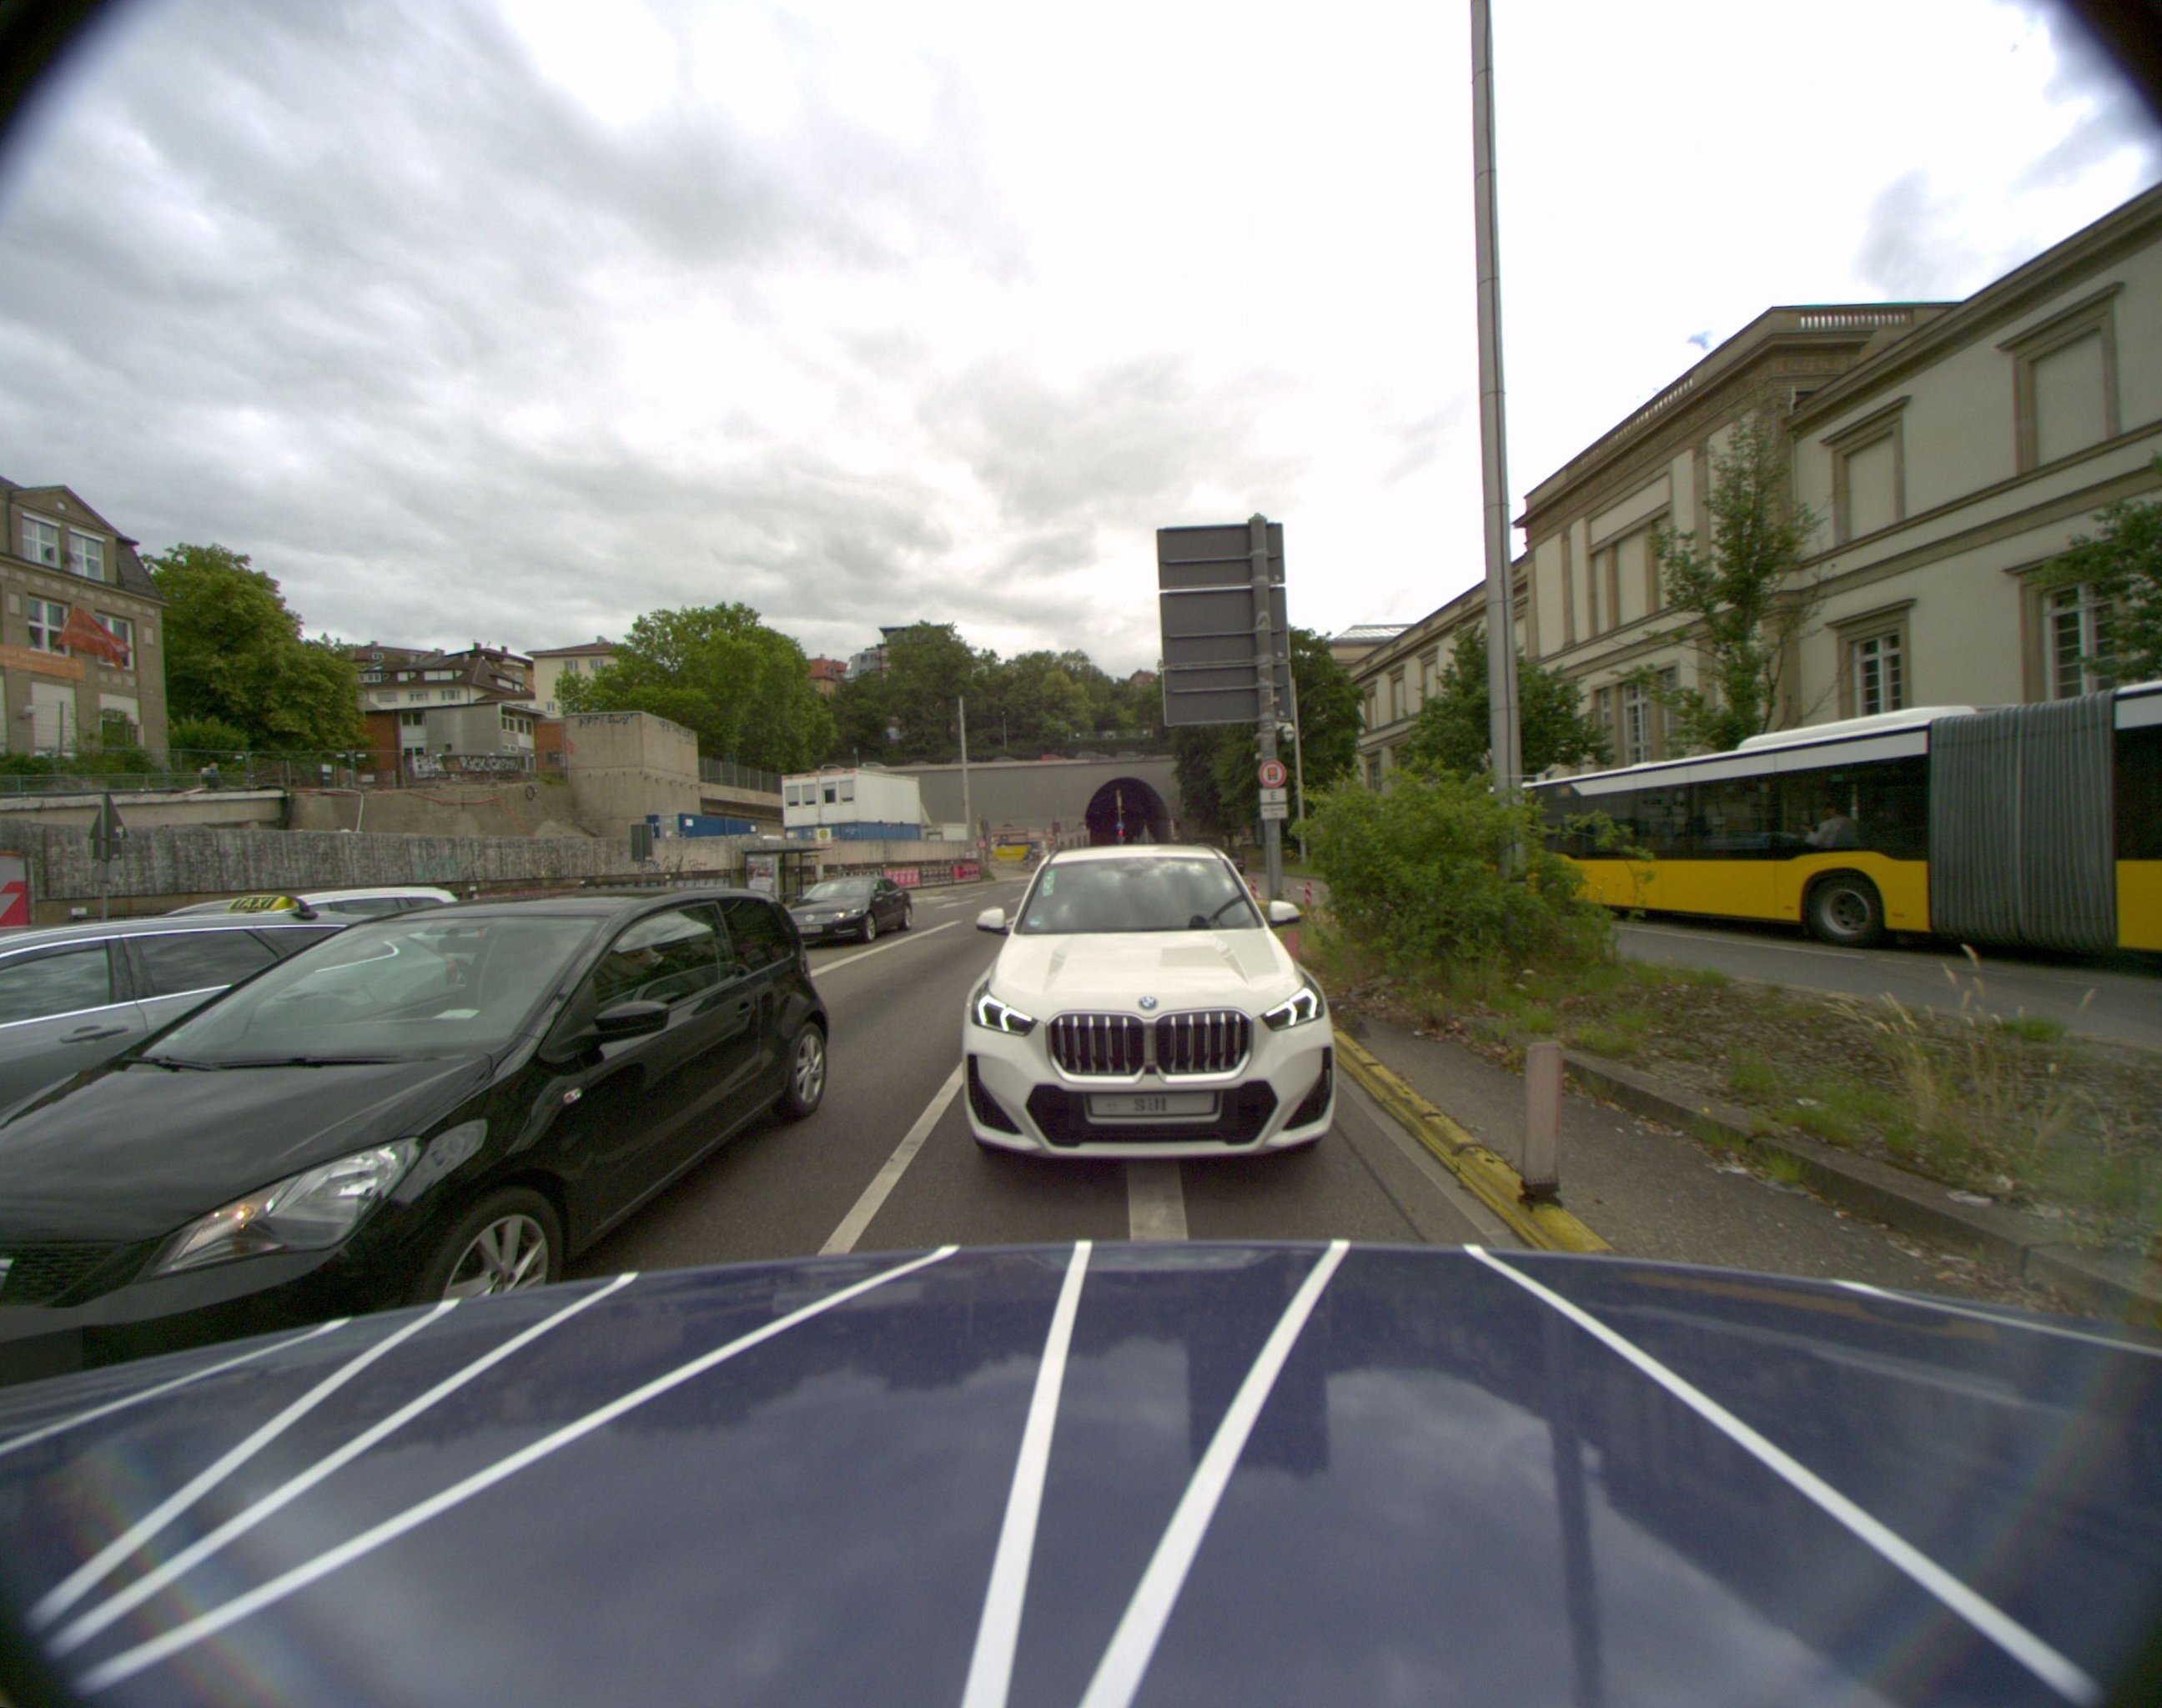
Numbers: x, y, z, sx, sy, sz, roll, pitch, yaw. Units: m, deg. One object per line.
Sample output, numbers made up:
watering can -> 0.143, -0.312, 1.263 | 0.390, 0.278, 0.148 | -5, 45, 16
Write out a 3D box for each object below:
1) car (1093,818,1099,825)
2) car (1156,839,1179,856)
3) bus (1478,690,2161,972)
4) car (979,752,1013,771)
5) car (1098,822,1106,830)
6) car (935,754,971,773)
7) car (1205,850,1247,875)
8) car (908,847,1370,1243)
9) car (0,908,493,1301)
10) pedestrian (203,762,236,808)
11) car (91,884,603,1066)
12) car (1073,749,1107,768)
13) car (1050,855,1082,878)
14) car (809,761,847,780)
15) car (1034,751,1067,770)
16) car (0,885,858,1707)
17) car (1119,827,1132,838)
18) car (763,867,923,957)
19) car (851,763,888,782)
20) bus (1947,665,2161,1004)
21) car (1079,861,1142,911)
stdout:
car -> 4.080, -8.711, 204.085 | 1.667, 1.582, 3.882 | -1, 0, 2
car -> 8.680, -0.627, 76.651 | 1.701, 1.580, 3.882 | -3, 0, -1
bus -> 11.192, -0.280, 13.536 | 2.853, 3.096, 9.747 | -3, 0, -1
car -> -10.463, -11.380, 94.003 | 3.998, 2.002, 1.999 | -2, 1, -2
car -> 5.021, -6.675, 181.079 | 1.667, 1.582, 3.882 | -1, 0, 2
car -> -15.782, -11.185, 93.893 | 3.998, 2.002, 1.999 | -2, 1, -2
car -> 9.175, 0.491, 48.375 | 1.705, 1.463, 4.629 | -3, 0, -1
car -> 0.302, 0.804, 5.113 | 1.848, 1.581, 3.882 | -3, 0, 2
car -> -5.821, 1.283, 3.854 | 1.826, 1.562, 4.654 | -3, 0, 3
pedestrian -> -39.525, -3.154, 34.864 | 0.646, 2.002, 0.666 | -2, 1, -3
car -> -8.815, 1.317, 9.859 | 1.703, 1.550, 4.554 | -3, 0, 11
car -> 1.121, -11.808, 94.480 | 3.998, 2.002, 1.999 | -2, 1, -2
car -> -0.992, 0.849, 52.141 | 1.730, 1.435, 4.001 | -3, 0, 5
car -> -31.043, -10.238, 93.308 | 3.998, 2.002, 1.999 | -2, 1, -5
car -> -3.757, -11.629, 94.397 | 3.998, 2.002, 1.999 | -2, 1, -2
car -> -2.499, 1.008, 3.403 | 1.667, 1.487, 3.882 | -3, 0, 2
car -> 6.992, -3.379, 119.374 | 1.711, 1.505, 4.287 | 0, 0, -3
car -> -5.025, 1.152, 16.799 | 1.704, 1.550, 4.552 | -3, 0, 5
car -> -25.994, -10.051, 93.371 | 3.998, 2.002, 1.999 | -2, 1, -5
bus -> 11.287, -0.233, 4.045 | 2.853, 3.096, 9.121 | -3, 0, 0
car -> 0.859, 0.936, 23.601 | 1.728, 1.310, 4.000 | -3, 0, 1
